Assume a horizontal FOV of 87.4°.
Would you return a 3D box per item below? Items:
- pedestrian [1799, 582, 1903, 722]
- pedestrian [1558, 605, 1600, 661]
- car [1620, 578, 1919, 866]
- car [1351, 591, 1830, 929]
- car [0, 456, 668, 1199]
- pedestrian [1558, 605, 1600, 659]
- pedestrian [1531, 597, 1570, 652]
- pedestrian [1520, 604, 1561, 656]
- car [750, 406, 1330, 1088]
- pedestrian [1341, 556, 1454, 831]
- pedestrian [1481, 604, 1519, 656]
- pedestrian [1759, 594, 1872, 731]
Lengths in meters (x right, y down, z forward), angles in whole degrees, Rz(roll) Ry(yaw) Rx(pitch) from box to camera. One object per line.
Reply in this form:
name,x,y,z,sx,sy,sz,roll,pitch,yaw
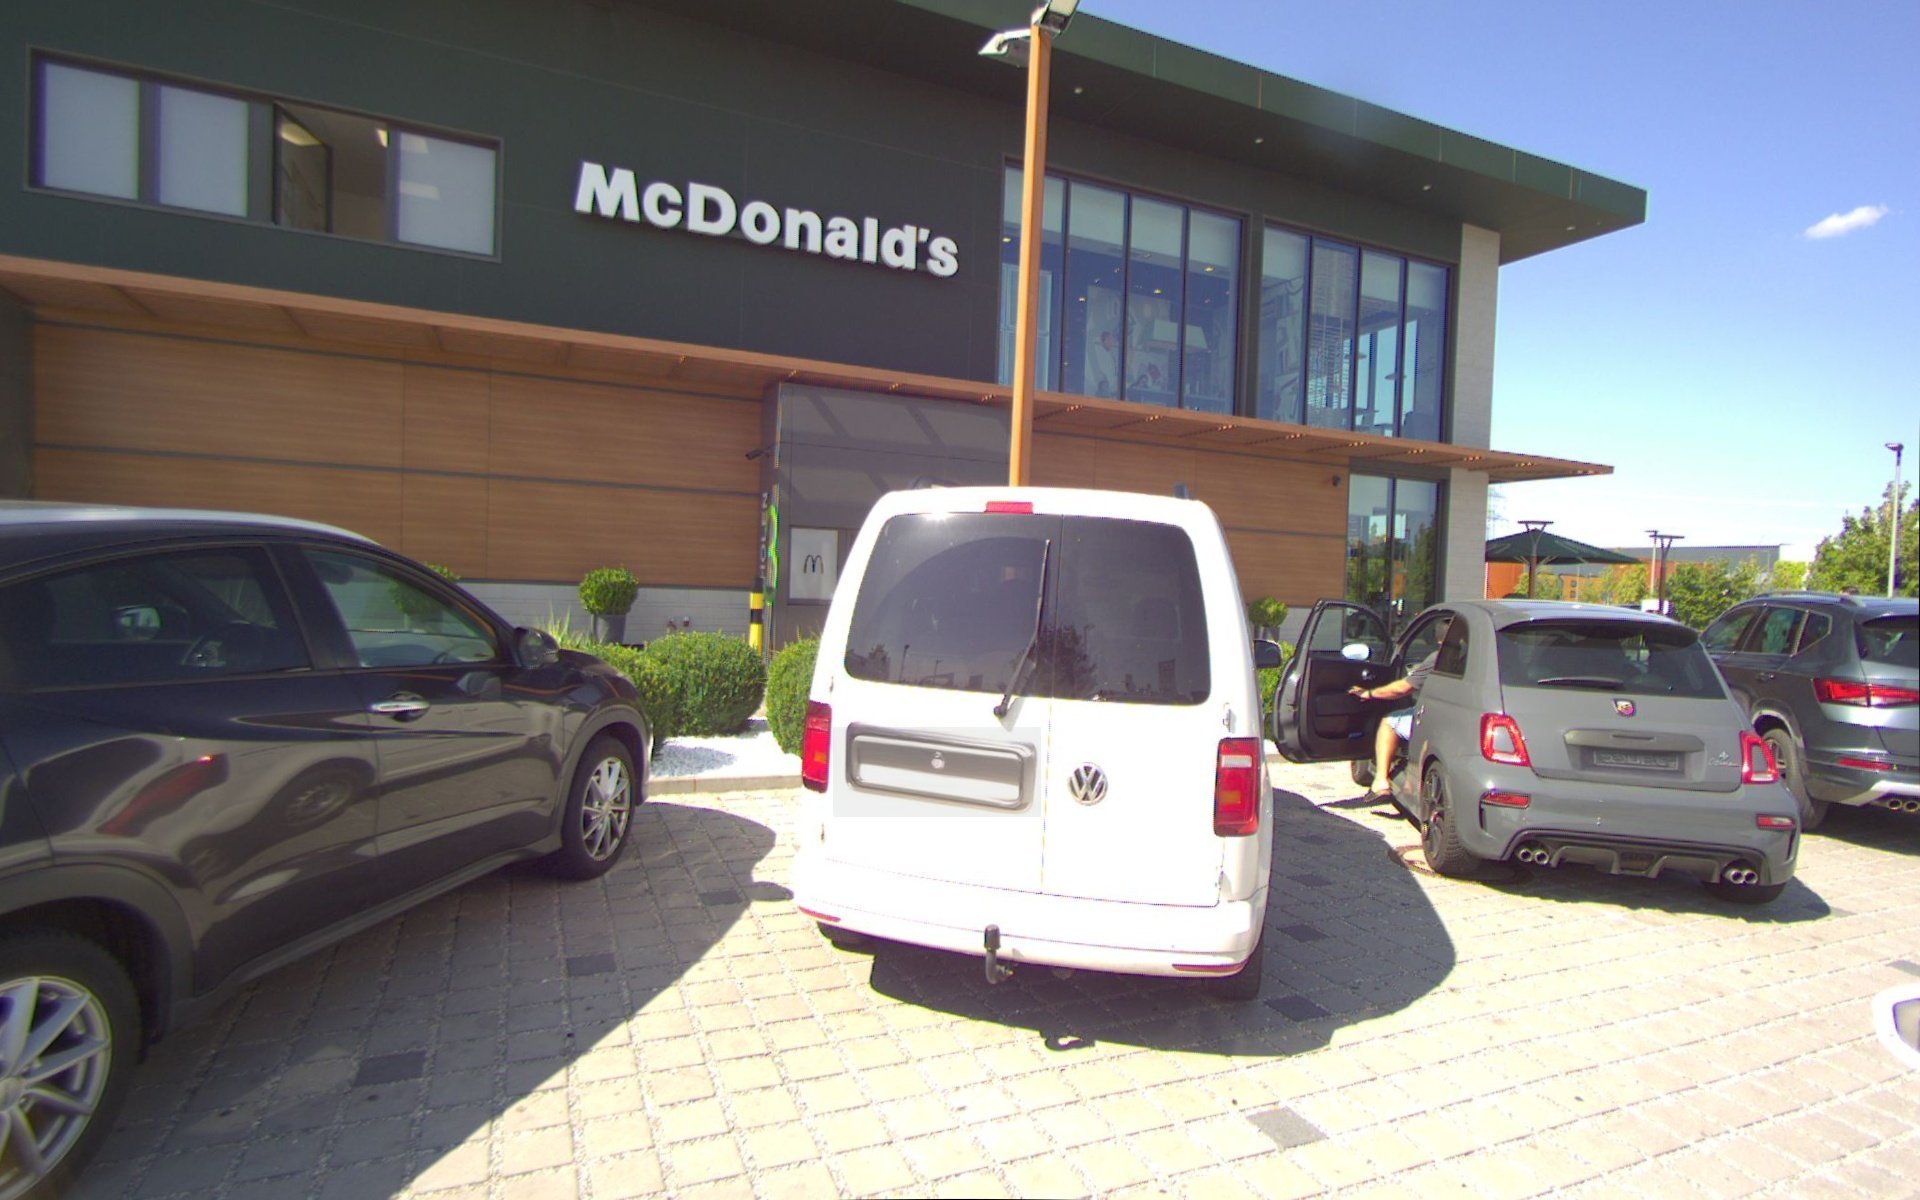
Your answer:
pedestrian,11.962,0.670,13.488,0.887,1.792,0.796,1,1,-33
pedestrian,14.371,0.768,23.323,0.707,1.275,0.520,1,1,-28
car,6.766,0.717,7.716,1.755,1.625,4.226,4,3,19
car,3.593,0.723,6.431,1.536,1.502,3.417,2,1,14
car,-2.632,0.507,3.310,1.722,1.654,3.846,2,0,8
pedestrian,14.968,0.777,24.300,0.721,1.275,0.569,1,1,-29
pedestrian,14.051,0.587,23.912,0.627,1.275,0.520,1,1,-28
pedestrian,14.605,0.762,25.285,0.721,1.275,0.569,1,1,-29
car,0.649,0.397,5.078,1.722,1.947,4.147,2,0,13
pedestrian,2.842,0.579,6.570,0.601,1.707,0.443,2,1,20
pedestrian,13.521,0.737,25.143,0.707,1.275,0.520,1,1,-28
pedestrian,10.401,0.737,12.232,0.729,1.605,0.726,1,1,-14
